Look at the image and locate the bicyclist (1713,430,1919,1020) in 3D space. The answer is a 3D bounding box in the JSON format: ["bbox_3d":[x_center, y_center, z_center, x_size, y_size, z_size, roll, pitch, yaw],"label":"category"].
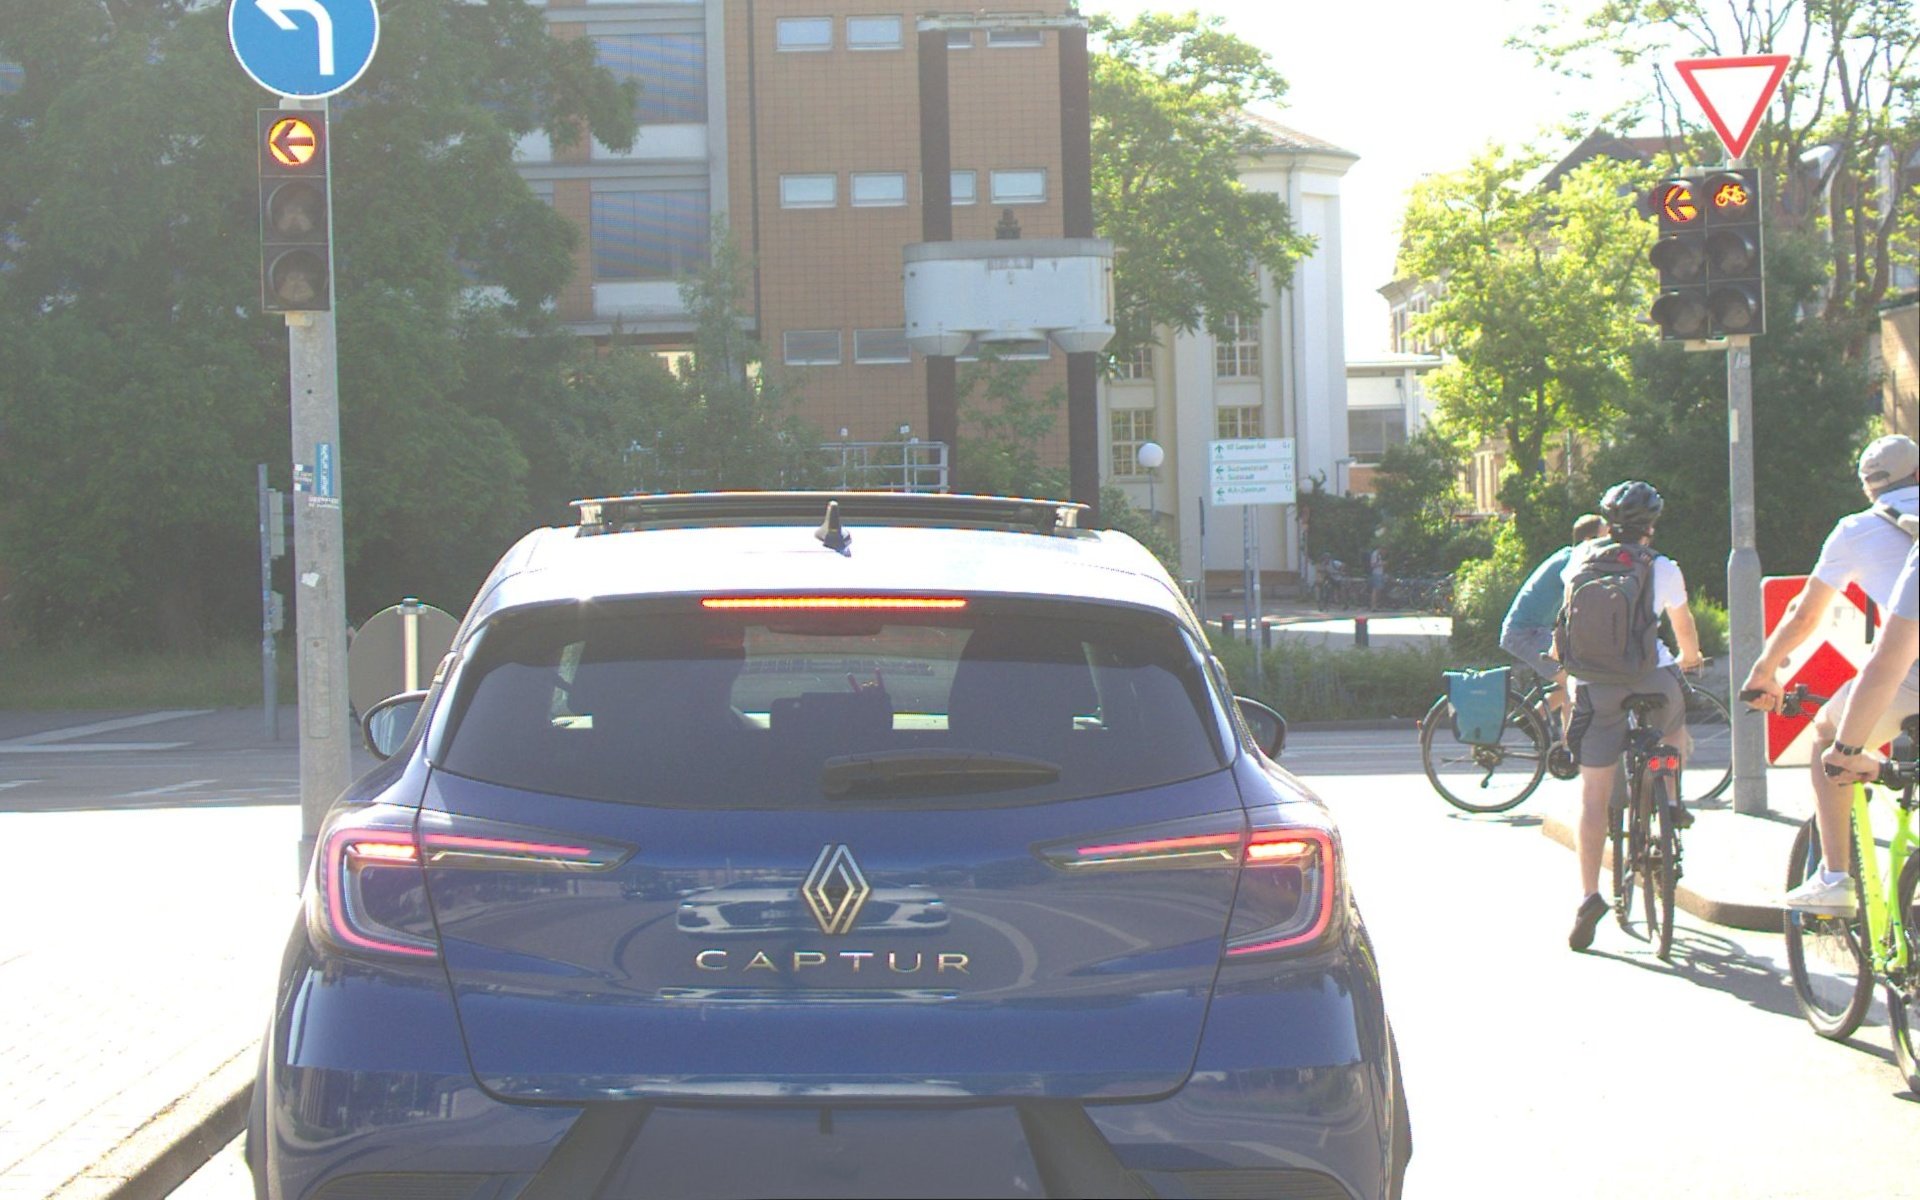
[{"bbox_3d":[2.623,0.329,9.831,0.678,1.589,1.142,0,1,-1],"label":"bicyclist"}]

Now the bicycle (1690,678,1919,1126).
[{"bbox_3d":[2.645,0.801,9.828,0.689,1.085,1.922,0,1,-1],"label":"bicycle"}]

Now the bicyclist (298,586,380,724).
[{"bbox_3d":[-7.909,0.689,43.808,0.755,1.710,0.998,-1,1,5],"label":"bicyclist"}]

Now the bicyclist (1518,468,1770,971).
[{"bbox_3d":[2.523,0.417,12.789,0.699,1.785,1.142,0,1,-1],"label":"bicyclist"}]

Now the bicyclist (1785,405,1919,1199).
[{"bbox_3d":[2.221,0.504,7.232,0.683,1.785,1.142,0,1,-1],"label":"bicyclist"}]

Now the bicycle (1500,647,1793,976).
[{"bbox_3d":[2.525,0.744,12.854,0.689,1.085,1.922,0,1,-1],"label":"bicycle"}]

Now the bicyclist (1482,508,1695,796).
[{"bbox_3d":[3.427,0.279,18.801,1.051,1.508,0.641,-2,0,7],"label":"bicyclist"}]

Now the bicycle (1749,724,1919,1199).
[{"bbox_3d":[2.226,0.849,7.192,0.689,1.085,1.922,0,1,-1],"label":"bicycle"}]

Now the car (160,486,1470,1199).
[{"bbox_3d":[-0.275,0.611,6.661,1.788,1.580,3.915,0,1,-2],"label":"car"}]

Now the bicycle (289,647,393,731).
[{"bbox_3d":[-7.889,1.121,43.918,0.755,0.981,2.093,-1,1,5],"label":"bicycle"}]

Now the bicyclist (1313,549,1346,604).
[{"bbox_3d":[10.014,-0.638,93.140,0.695,1.476,0.716,-1,1,23],"label":"bicyclist"}]

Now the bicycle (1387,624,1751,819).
[{"bbox_3d":[3.311,0.661,18.819,1.898,0.970,0.649,-2,0,7],"label":"bicycle"}]

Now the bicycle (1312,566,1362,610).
[{"bbox_3d":[10.292,-0.331,93.825,0.695,1.136,2.438,-1,1,22],"label":"bicycle"}]
